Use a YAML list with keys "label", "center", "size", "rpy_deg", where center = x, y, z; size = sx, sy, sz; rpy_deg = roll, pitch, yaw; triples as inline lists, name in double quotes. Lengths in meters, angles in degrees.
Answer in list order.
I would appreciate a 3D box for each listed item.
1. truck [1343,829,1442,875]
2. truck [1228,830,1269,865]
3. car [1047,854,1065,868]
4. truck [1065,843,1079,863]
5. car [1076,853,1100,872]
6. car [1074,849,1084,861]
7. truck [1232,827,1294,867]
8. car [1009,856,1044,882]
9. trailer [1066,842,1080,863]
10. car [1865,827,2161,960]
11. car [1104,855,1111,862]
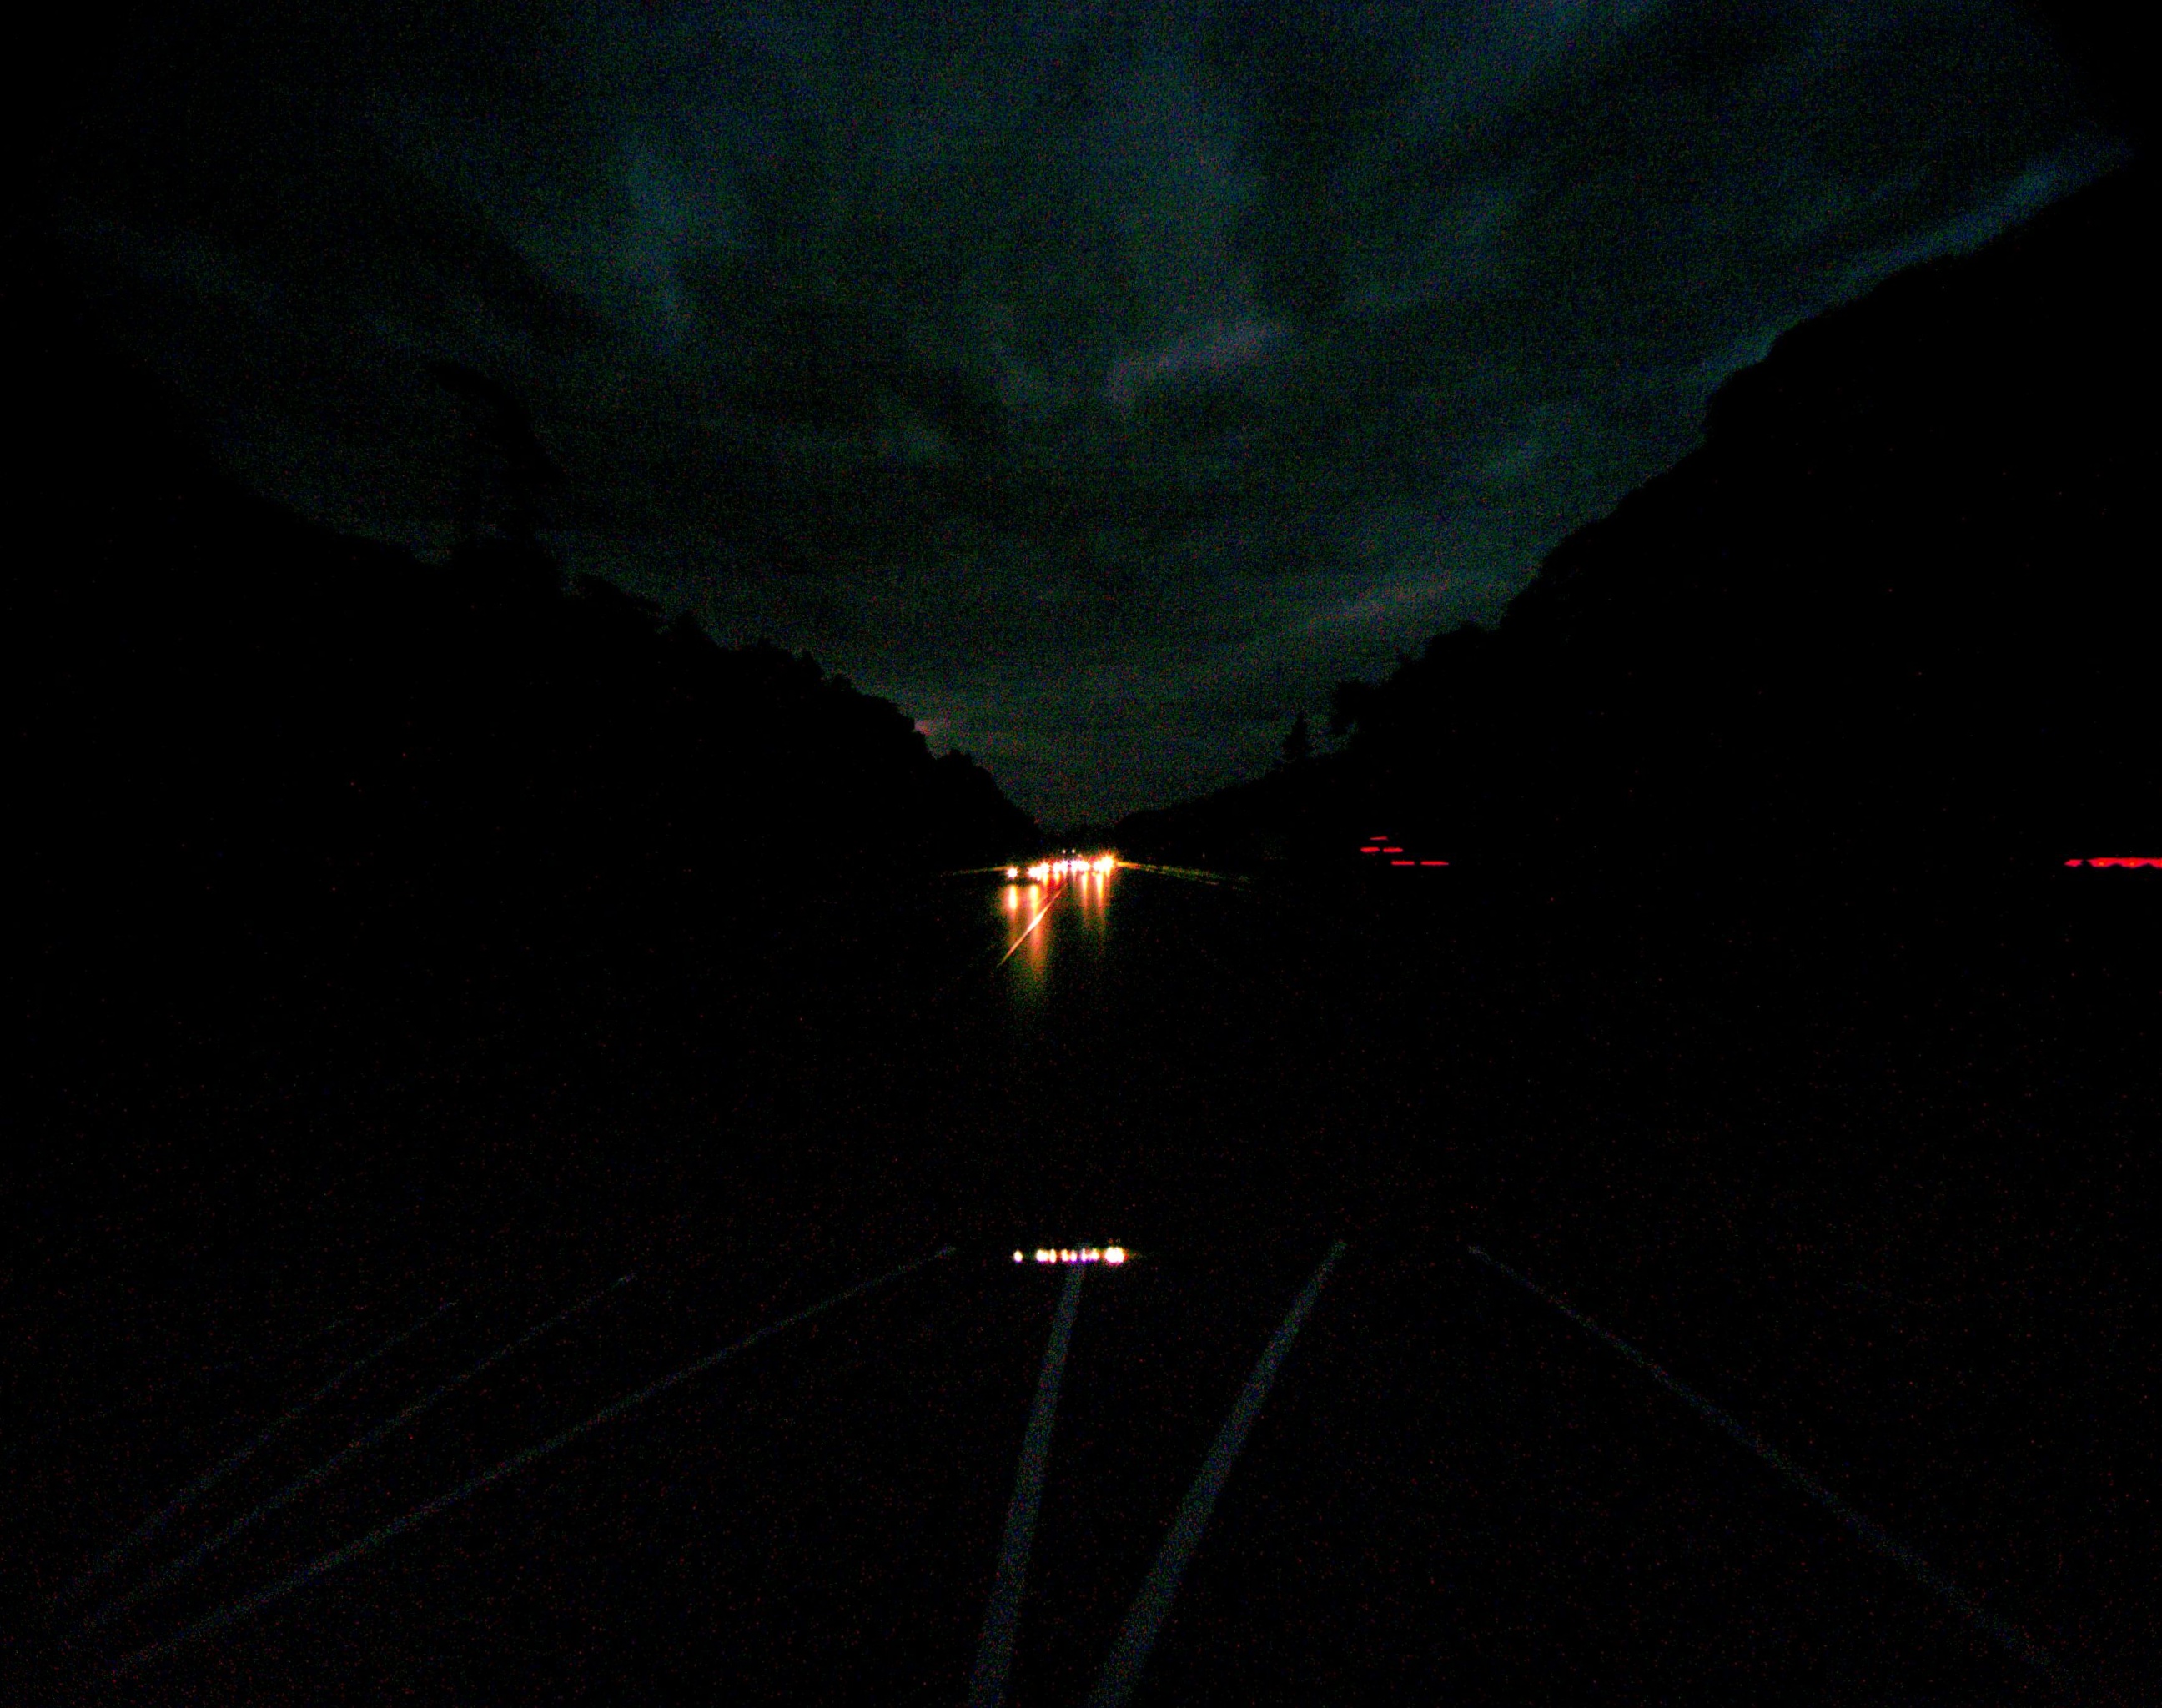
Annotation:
- label: "truck"
  center: [19.103, -0.123, 47.370]
  size: [2.467, 2.495, 9.755]
  rpy_deg: [-2, 0, 2]
- label: "truck"
  center: [20.008, -0.702, 91.412]
  size: [3.389, 3.980, 6.879]
  rpy_deg: [-1, 0, 0]
- label: "car"
  center: [-2.754, 0.763, 85.452]
  size: [1.695, 1.481, 4.949]
  rpy_deg: [-1, 0, 2]
- label: "truck"
  center: [-1.723, -0.252, 153.601]
  size: [2.498, 3.945, 5.590]
  rpy_deg: [-2, 1, 1]
- label: "car"
  center: [0.671, 0.795, 72.863]
  size: [1.869, 1.701, 4.585]
  rpy_deg: [-3, 0, 5]
- label: "car"
  center: [-0.546, 0.268, 244.201]
  size: [2.998, 3.659, 10.000]
  rpy_deg: [-2, 0, 1]
- label: "truck"
  center: [19.948, -0.717, 84.479]
  size: [3.365, 3.980, 14.496]
  rpy_deg: [-1, 0, 0]
- label: "car"
  center: [-3.452, 0.930, 48.817]
  size: [1.870, 1.427, 4.583]
  rpy_deg: [-3, 0, 0]
- label: "trailer"
  center: [-1.633, -0.367, 161.089]
  size: [2.489, 4.050, 13.502]
  rpy_deg: [-2, 1, 0]
- label: "car"
  center: [14.834, 0.488, 11.170]
  size: [1.740, 1.705, 4.714]
  rpy_deg: [-2, 0, 0]
- label: "car"
  center: [6.151, 0.992, 176.647]
  size: [1.695, 1.481, 4.949]
  rpy_deg: [-1, 0, 1]
